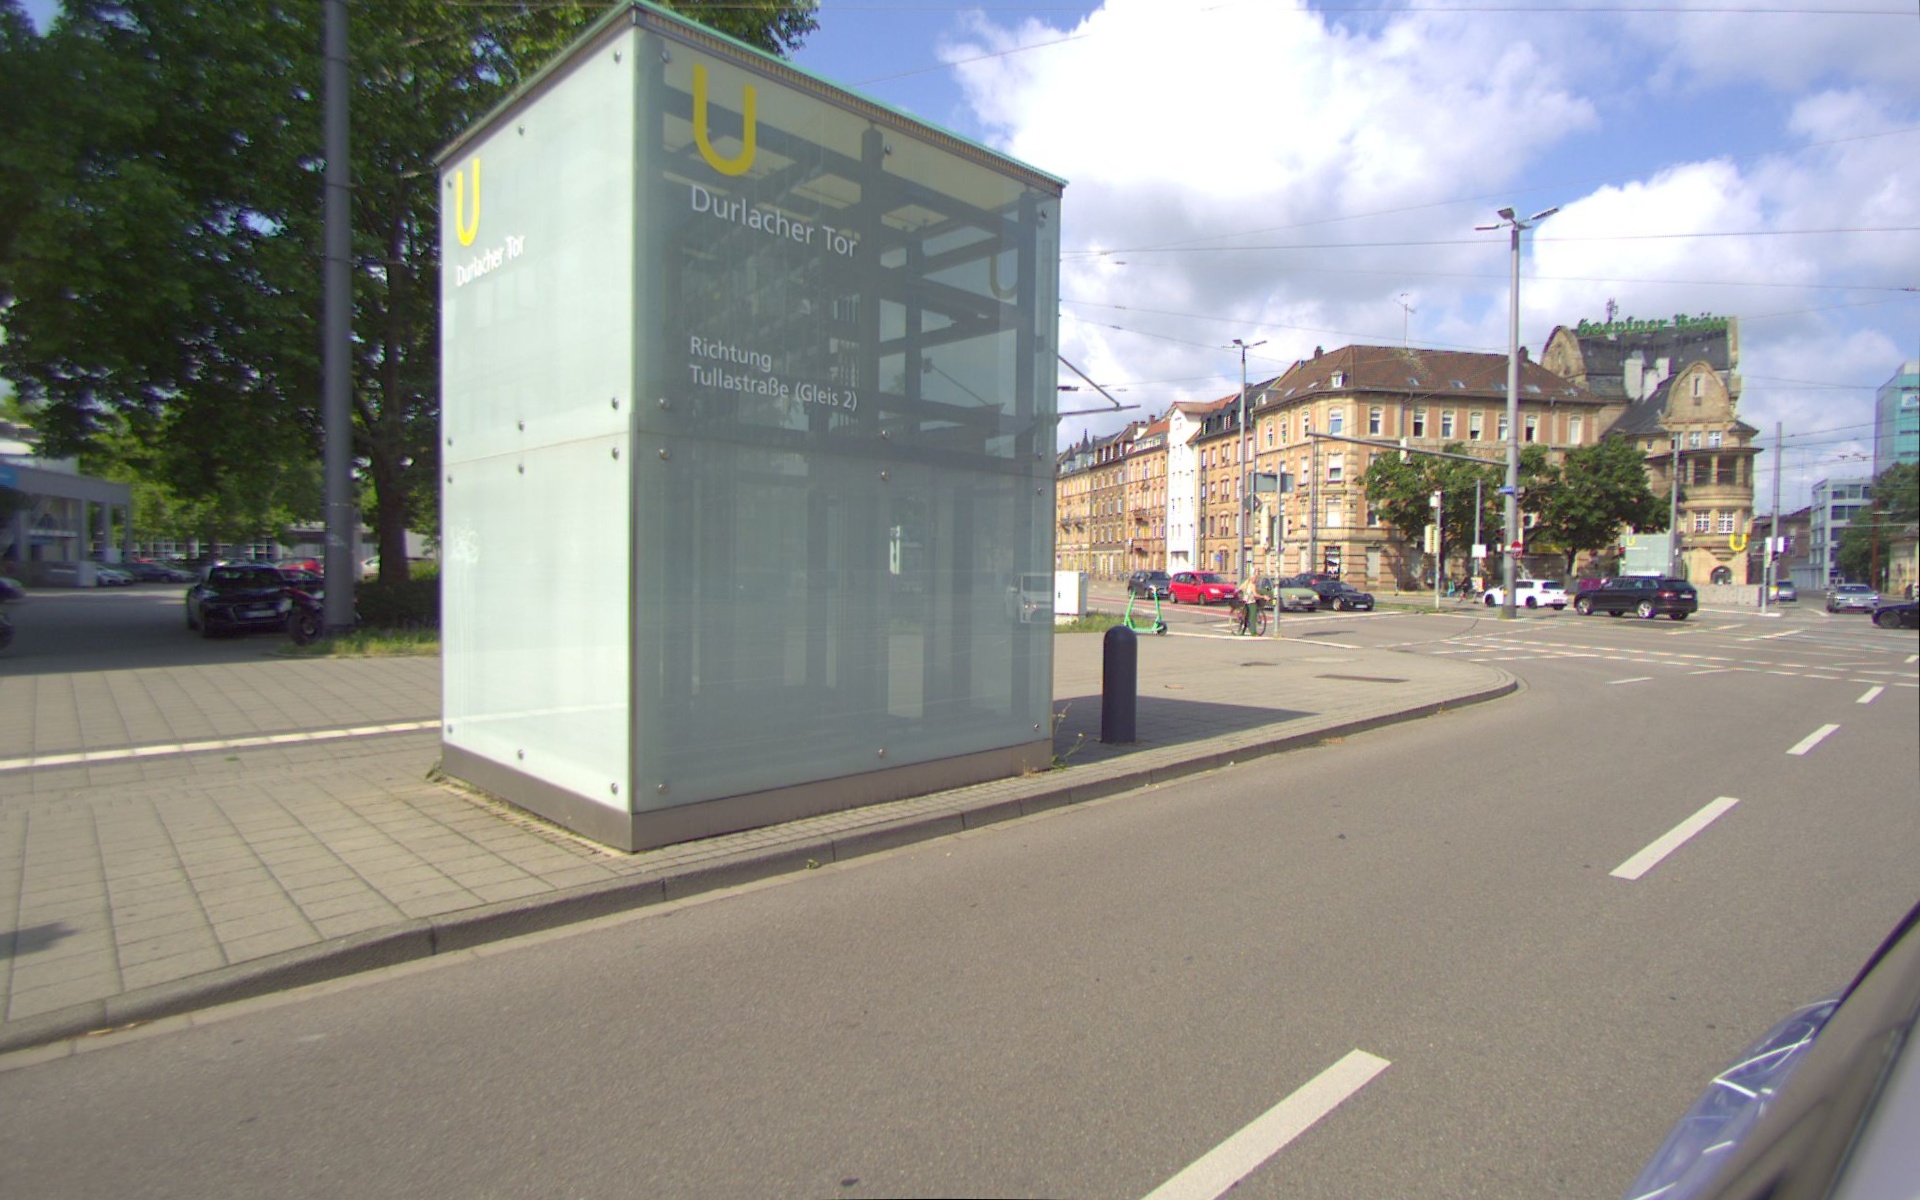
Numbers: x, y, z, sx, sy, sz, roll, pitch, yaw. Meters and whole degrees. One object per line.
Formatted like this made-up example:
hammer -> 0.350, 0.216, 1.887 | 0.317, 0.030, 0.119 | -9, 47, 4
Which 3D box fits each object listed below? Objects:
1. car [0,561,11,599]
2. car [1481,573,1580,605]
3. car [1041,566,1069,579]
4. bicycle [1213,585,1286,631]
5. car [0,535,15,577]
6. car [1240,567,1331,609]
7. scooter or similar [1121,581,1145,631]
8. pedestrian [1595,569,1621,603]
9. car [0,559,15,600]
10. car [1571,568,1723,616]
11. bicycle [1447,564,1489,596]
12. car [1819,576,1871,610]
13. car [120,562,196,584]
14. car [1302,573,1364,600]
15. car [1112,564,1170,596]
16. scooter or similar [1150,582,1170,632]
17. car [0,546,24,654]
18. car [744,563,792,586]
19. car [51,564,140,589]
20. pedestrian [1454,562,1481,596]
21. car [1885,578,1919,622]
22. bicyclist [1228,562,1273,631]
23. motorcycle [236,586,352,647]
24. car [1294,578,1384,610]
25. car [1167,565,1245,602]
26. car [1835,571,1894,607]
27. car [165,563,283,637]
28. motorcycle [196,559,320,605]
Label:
car -> -36.537, -0.632, 35.960 | 1.641, 1.396, 3.941 | -1, 3, 42
car -> 27.678, -0.512, 49.273 | 1.649, 1.464, 4.241 | -1, 0, -15
car -> 10.308, -3.031, 110.206 | 1.959, 1.348, 4.008 | 1, 2, -10
bicycle -> 7.612, 0.216, 26.542 | 1.954, 1.142, 0.789 | 2, 0, -37
car -> -39.512, -1.682, 39.560 | 3.556, 1.613, 1.664 | -4, 2, -39
car -> 13.018, -0.506, 40.762 | 1.789, 1.531, 4.008 | -2, 2, -10
scooter or similar -> 4.185, 0.138, 24.449 | 0.377, 1.172, 0.923 | 2, 1, 20
pedestrian -> 32.063, -0.684, 50.067 | 0.780, 1.662, 0.710 | 0, 2, -23
car -> -34.474, -0.621, 33.912 | 1.641, 1.396, 3.941 | -1, 3, 42
car -> 26.797, -0.361, 39.686 | 1.958, 1.688, 4.695 | 0, 3, -18
bicycle -> 28.588, -1.136, 57.003 | 0.989, 1.746, 2.470 | -2, 2, -1
car -> 52.969, -0.432, 60.664 | 1.989, 1.614, 4.627 | -1, 5, 37
car -> -57.790, -1.935, 72.989 | 3.916, 1.396, 1.652 | -3, 2, -17
car -> 23.245, -0.868, 63.226 | 1.736, 1.547, 4.264 | -2, 2, -10
car -> 9.672, -1.102, 54.381 | 1.960, 1.571, 4.006 | -2, 2, -7
scooter or similar -> 4.817, 0.156, 24.393 | 0.375, 1.172, 0.927 | 2, 1, 8
car -> -16.336, 0.047, 14.451 | 4.320, 1.605, 1.995 | -2, 1, -44
car -> -12.977, -1.708, 68.341 | 1.888, 1.462, 4.005 | 0, 2, -31
car -> -55.062, -1.489, 64.504 | 3.916, 1.396, 1.652 | -3, 2, -17
pedestrian -> 28.564, -1.190, 56.984 | 0.976, 1.864, 0.997 | -2, 2, -2
car -> 32.713, 0.053, 32.116 | 1.958, 1.415, 4.519 | -1, 3, -24
bicyclist -> 7.624, -0.088, 26.558 | 0.812, 1.767, 0.712 | 3, -1, -35
motorcycle -> -11.206, 0.250, 17.107 | 0.594, 0.914, 1.894 | 0, 2, 4
car -> 15.461, -0.285, 41.467 | 1.593, 1.175, 4.008 | -2, 2, -10
car -> 11.210, -0.804, 46.390 | 1.959, 1.537, 4.008 | -2, 2, -10
car -> 49.203, -0.595, 55.129 | 1.988, 1.760, 4.285 | -1, 2, 37
car -> -16.193, -0.039, 22.185 | 1.765, 1.438, 3.995 | 2, 1, -40
motorcycle -> -28.768, -0.716, 41.507 | 3.930, 1.683, 1.997 | 2, 1, -41
